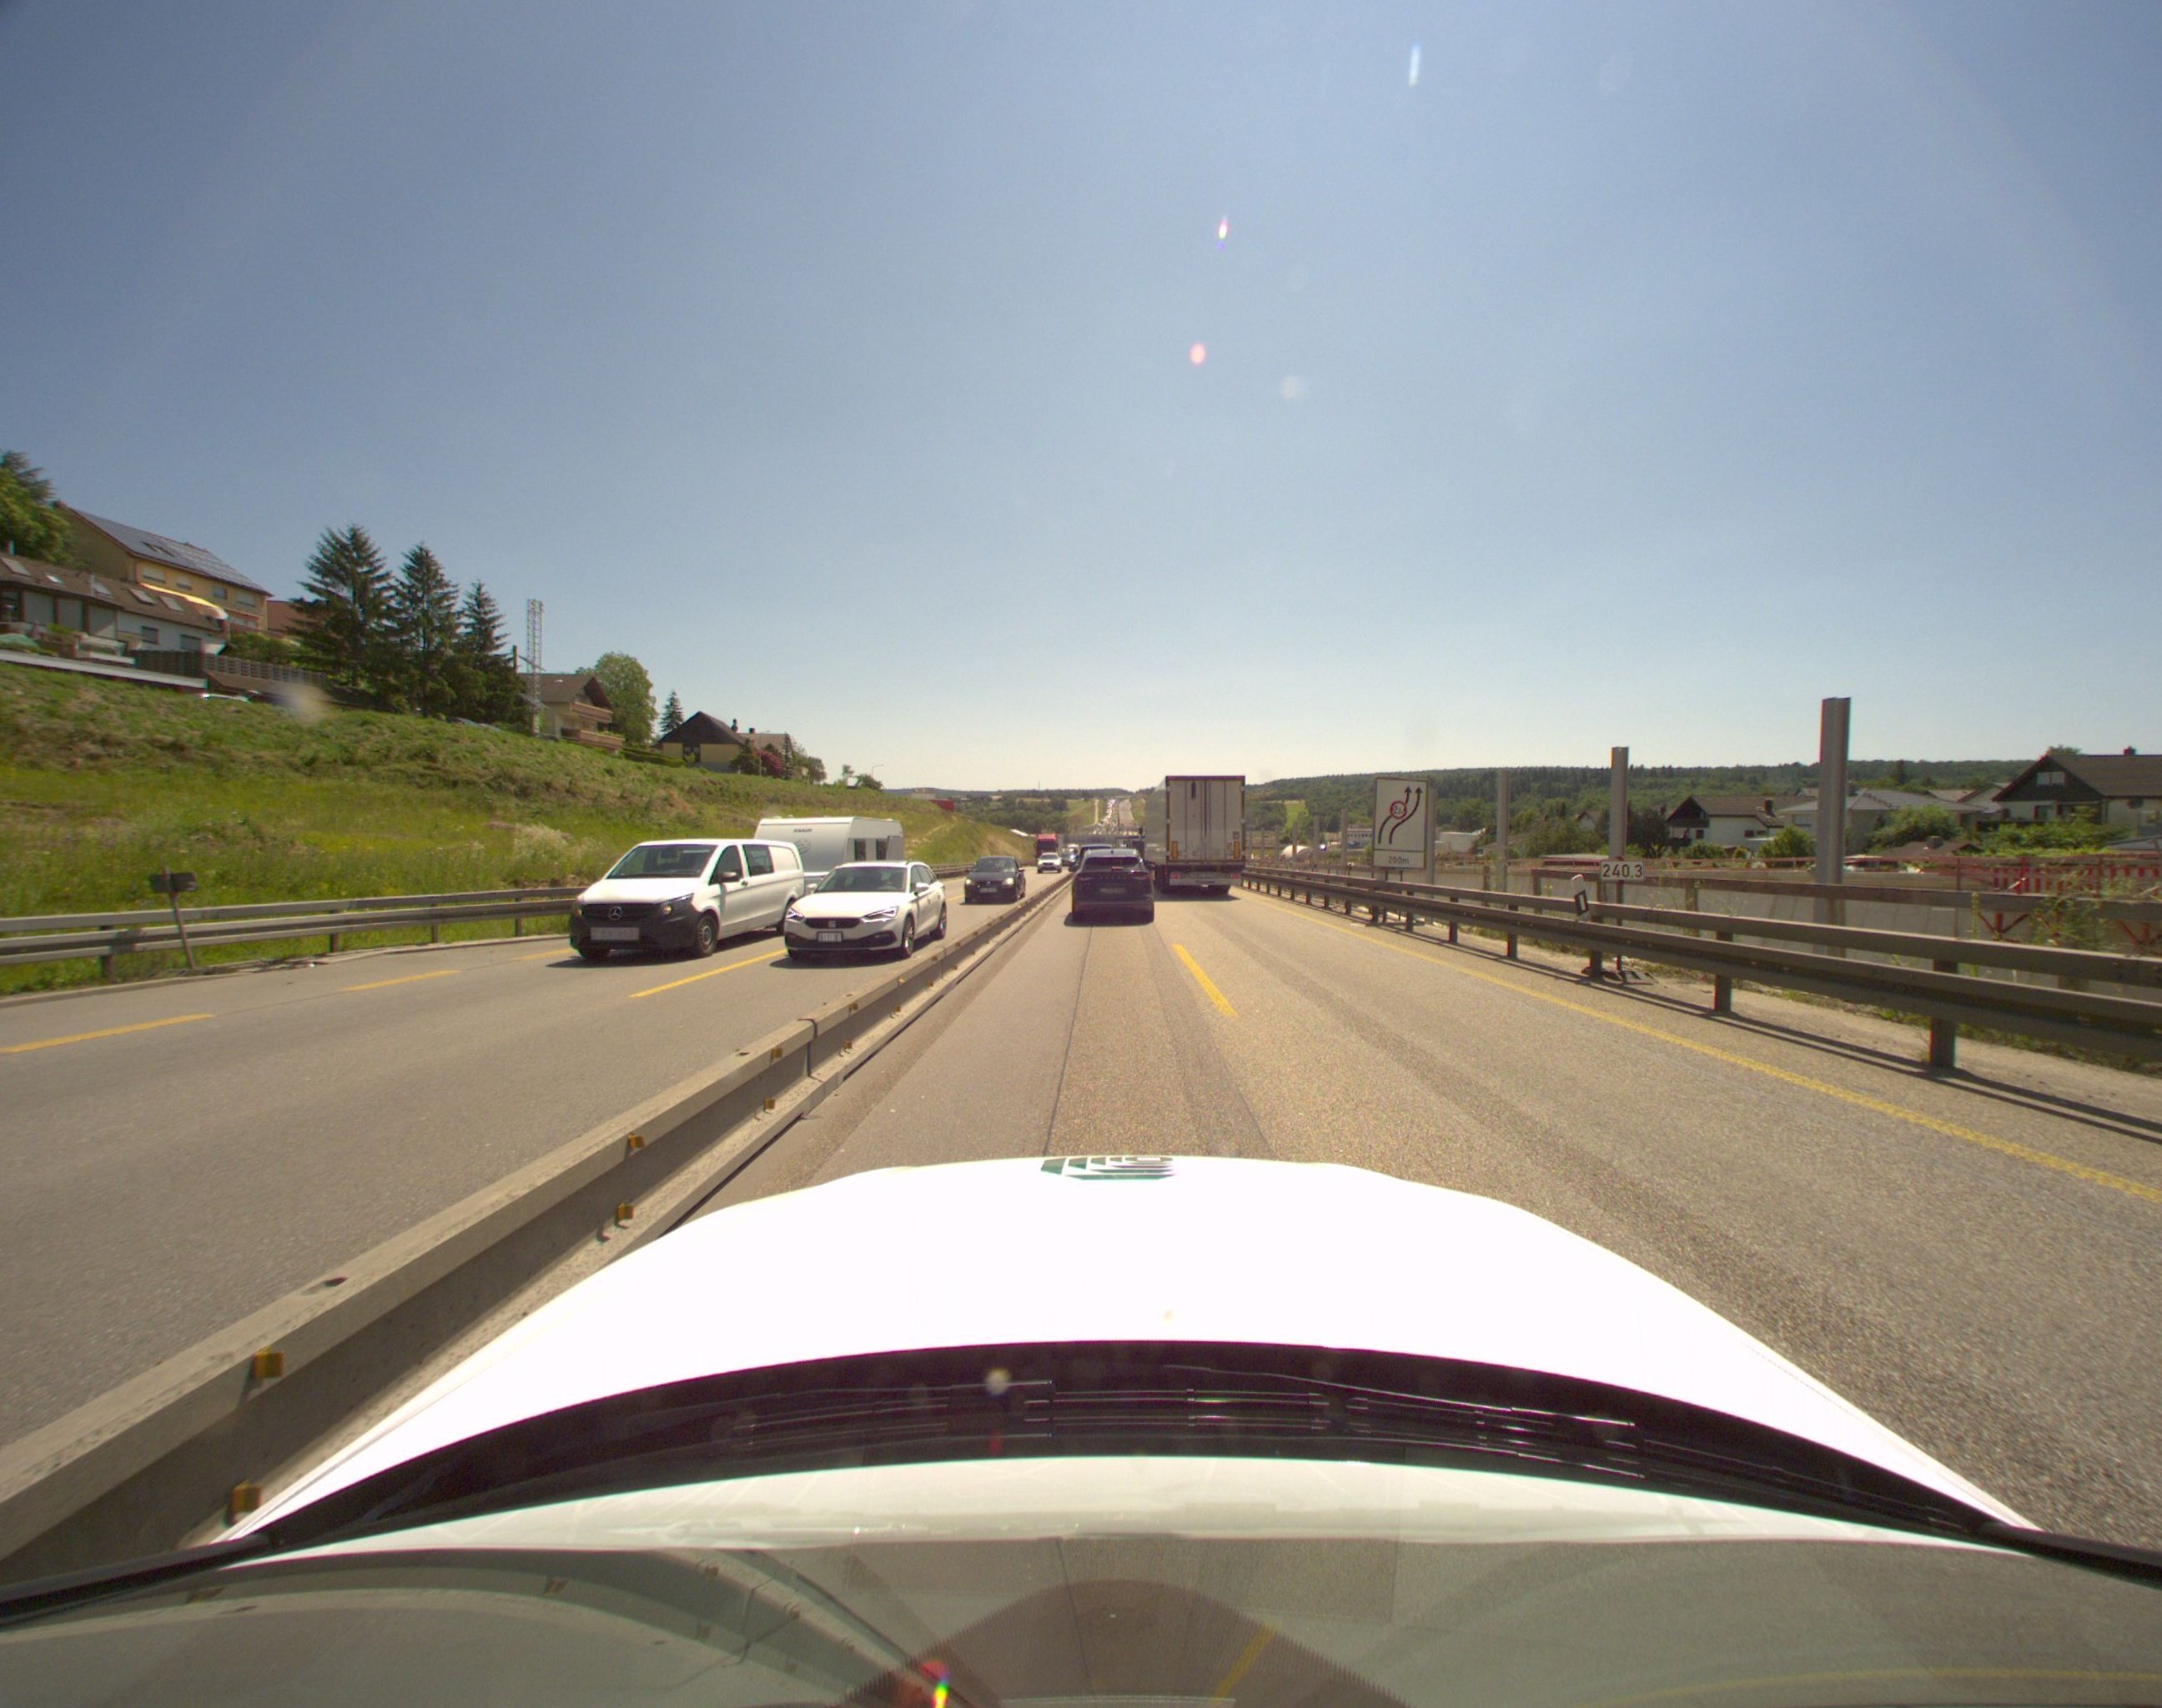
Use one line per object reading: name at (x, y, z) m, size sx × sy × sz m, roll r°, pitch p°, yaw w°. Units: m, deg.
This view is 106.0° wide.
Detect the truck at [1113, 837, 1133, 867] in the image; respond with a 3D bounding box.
truck at (6.553, -0.226, 129.512) m, size 2.842 × 4.465 × 11.919 m, roll 0°, pitch -1°, yaw 1°

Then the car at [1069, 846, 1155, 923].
car at (0.727, 0.658, 19.118) m, size 1.795 × 1.607 × 4.002 m, roll -1°, pitch -1°, yaw 2°

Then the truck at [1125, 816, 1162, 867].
truck at (5.850, -1.056, 77.616) m, size 3.168 × 4.513 × 8.167 m, roll 0°, pitch -1°, yaw 2°

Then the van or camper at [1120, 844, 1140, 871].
van or camper at (6.162, 0.477, 101.547) m, size 2.378 × 3.281 × 6.475 m, roll -1°, pitch -1°, yaw 4°

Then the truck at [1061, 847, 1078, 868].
truck at (-2.198, 0.695, 155.862) m, size 2.842 × 3.782 × 11.919 m, roll 0°, pitch -1°, yaw 1°

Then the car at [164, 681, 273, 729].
car at (-51.316, -8.811, 48.557) m, size 1.983 × 2.014 × 4.008 m, roll -1°, pitch -1°, yaw 7°

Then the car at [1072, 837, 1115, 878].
car at (0.658, 0.212, 40.598) m, size 1.986 × 1.926 × 4.508 m, roll 0°, pitch -1°, yaw 1°

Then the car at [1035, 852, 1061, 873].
car at (-2.481, 0.651, 62.129) m, size 1.786 × 1.518 × 3.997 m, roll -1°, pitch 0°, yaw -1°

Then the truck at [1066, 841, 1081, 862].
truck at (-1.593, -0.519, 179.092) m, size 2.842 × 4.338 × 11.919 m, roll 0°, pitch -1°, yaw 1°

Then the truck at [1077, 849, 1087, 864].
truck at (0.346, 0.820, 238.415) m, size 2.842 × 4.338 × 11.919 m, roll 0°, pitch -1°, yaw 1°

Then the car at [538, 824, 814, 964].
car at (-6.648, 0.562, 14.269) m, size 1.986 × 1.971 × 5.345 m, roll -1°, pitch 0°, yaw 2°

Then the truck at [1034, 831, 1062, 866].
truck at (-4.120, -0.614, 104.725) m, size 2.842 × 4.140 × 11.919 m, roll 0°, pitch -1°, yaw 1°

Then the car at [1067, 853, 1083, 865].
car at (-0.767, 0.593, 104.090) m, size 1.855 × 1.476 × 4.001 m, roll 0°, pitch 0°, yaw 1°

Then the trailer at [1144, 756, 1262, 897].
trailer at (4.430, -0.933, 32.793) m, size 3.168 × 4.513 × 13.113 m, roll 0°, pitch 0°, yaw 2°

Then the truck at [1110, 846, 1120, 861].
truck at (9.648, -0.134, 233.127) m, size 2.630 × 4.194 × 9.287 m, roll 0°, pitch -1°, yaw 2°

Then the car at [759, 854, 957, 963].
car at (-3.422, 0.750, 13.518) m, size 1.906 × 1.480 × 4.637 m, roll -1°, pitch 0°, yaw 1°

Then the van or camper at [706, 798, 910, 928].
van or camper at (-6.513, 0.184, 20.902) m, size 2.348 × 2.676 × 7.861 m, roll -1°, pitch 0°, yaw 2°

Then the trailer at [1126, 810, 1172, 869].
trailer at (5.637, -1.020, 70.422) m, size 3.168 × 4.513 × 14.971 m, roll 0°, pitch -1°, yaw 2°

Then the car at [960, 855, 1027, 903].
car at (-2.726, 0.744, 26.107) m, size 1.660 × 1.413 × 3.818 m, roll 0°, pitch 0°, yaw 1°

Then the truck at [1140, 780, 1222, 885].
truck at (4.600, -0.944, 39.277) m, size 3.168 × 4.513 × 8.169 m, roll 0°, pitch 0°, yaw 2°

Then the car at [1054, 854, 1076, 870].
car at (-1.611, 0.766, 81.923) m, size 1.986 × 1.530 × 4.001 m, roll -1°, pitch 0°, yaw 1°
